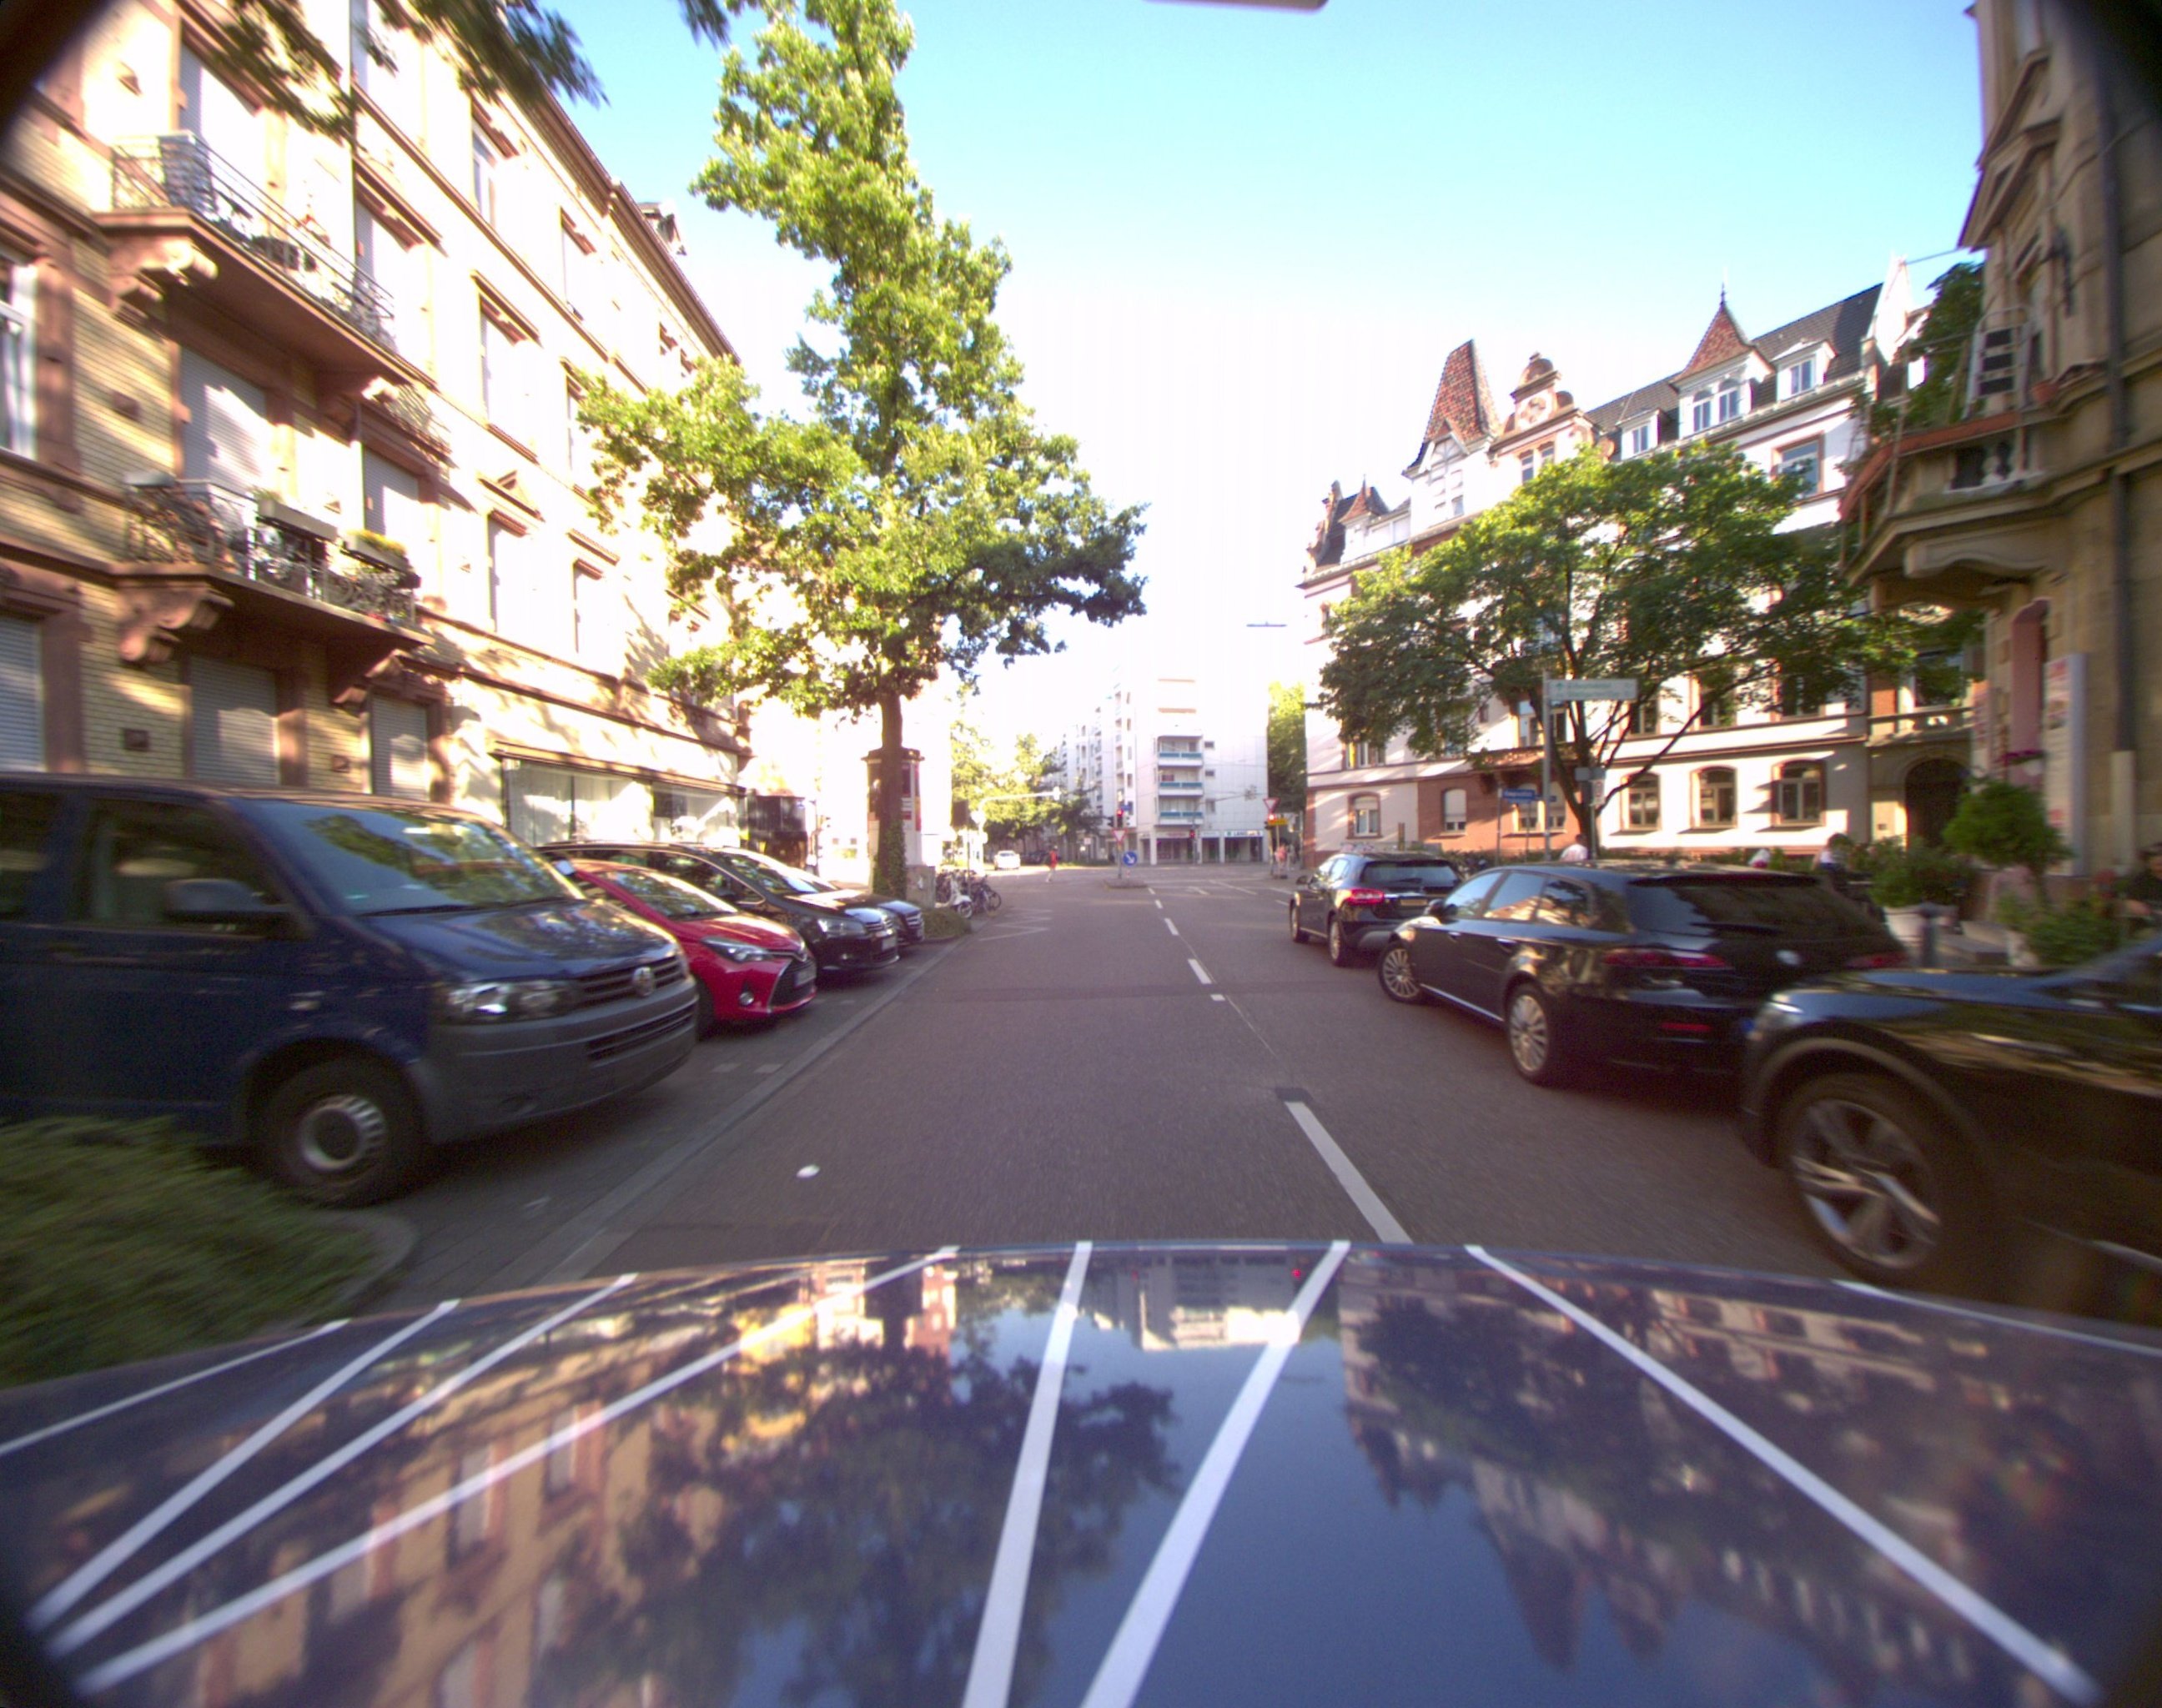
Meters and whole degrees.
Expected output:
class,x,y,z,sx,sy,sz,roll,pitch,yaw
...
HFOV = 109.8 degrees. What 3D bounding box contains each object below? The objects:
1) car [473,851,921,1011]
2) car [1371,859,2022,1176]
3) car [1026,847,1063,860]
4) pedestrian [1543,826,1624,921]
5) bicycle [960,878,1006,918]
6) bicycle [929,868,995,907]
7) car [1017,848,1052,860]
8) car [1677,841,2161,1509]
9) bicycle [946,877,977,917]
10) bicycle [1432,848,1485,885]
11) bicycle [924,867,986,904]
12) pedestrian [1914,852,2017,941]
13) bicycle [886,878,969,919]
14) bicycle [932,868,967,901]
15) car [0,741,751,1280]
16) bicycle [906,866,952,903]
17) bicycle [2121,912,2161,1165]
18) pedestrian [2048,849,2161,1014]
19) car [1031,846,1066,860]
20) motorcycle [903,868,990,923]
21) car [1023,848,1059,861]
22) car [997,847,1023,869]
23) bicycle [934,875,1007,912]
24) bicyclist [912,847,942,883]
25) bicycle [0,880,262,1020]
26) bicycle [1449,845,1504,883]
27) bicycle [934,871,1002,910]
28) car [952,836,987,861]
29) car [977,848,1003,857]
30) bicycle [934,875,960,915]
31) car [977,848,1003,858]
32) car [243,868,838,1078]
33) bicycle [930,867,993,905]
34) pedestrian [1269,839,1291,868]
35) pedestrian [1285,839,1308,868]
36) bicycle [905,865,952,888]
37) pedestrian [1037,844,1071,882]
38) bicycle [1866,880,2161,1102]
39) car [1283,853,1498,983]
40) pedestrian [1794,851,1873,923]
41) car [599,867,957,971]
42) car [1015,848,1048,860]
class,x,y,z,sx,sy,sz,roll,pitch,yaw
car,-4.562,0.813,9.359,4.695,1.669,1.852,0,1,9
car,3.850,0.813,6.003,1.762,1.443,4.551,-1,1,5
car,-4.772,-0.039,98.465,4.308,1.576,1.996,-2,1,-20
pedestrian,10.447,0.385,15.823,1.118,1.888,0.842,-2,1,-9
bicycle,-2.496,1.106,19.403,0.353,0.922,1.416,2,2,30
bicycle,-3.502,0.971,22.464,1.940,1.087,0.424,0,2,-37
car,-6.372,-0.001,103.190,4.308,1.576,1.996,-2,1,-20
car,3.399,0.759,1.089,1.762,1.590,4.551,-1,0,4
bicycle,-3.099,1.094,19.753,0.354,0.922,1.526,1,1,8
bicycle,12.924,0.393,26.111,0.547,1.189,2.959,-1,1,4
bicycle,-3.904,0.947,23.614,1.940,1.087,0.424,0,2,-39
pedestrian,12.706,0.585,10.925,0.728,1.207,0.755,-2,1,-19
bicycle,-3.725,1.075,18.520,1.935,0.922,0.354,1,2,-1
bicycle,-4.363,1.011,25.234,1.000,1.021,0.737,-2,1,-22
car,-4.807,0.689,4.175,5.034,2.202,1.992,-2,1,0
bicycle,-4.798,0.944,24.040,0.572,1.087,1.480,2,2,31
bicycle,5.746,0.794,3.217,1.872,1.122,0.528,-3,1,2
pedestrian,8.682,0.598,6.163,0.727,1.252,0.756,-1,1,-2
car,-4.114,-0.124,96.110,4.003,1.576,1.996,-2,1,-20
motorcycle,-3.151,0.972,17.868,1.902,1.227,0.686,1,1,0
car,-5.301,0.054,101.001,4.308,1.576,1.996,-2,1,-20
car,-6.159,0.304,65.547,2.000,1.740,3.997,-2,1,-8
bicycle,-3.077,1.094,21.155,1.939,0.982,0.495,1,2,-22
bicyclist,-6.808,0.482,33.655,1.082,1.544,0.633,-4,1,-30
bicycle,-10.110,0.909,7.727,0.672,1.165,2.592,1,1,2
bicycle,13.515,0.305,26.075,0.547,1.189,2.959,-1,1,4
bicycle,-3.265,1.036,22.034,1.940,1.046,0.501,0,2,-37
car,-14.907,-0.690,101.011,3.328,3.160,8.070,-2,1,-18
car,-16.893,-0.293,140.836,4.308,1.576,1.997,-2,1,-19
bicycle,-3.494,1.051,19.877,0.354,0.922,1.525,1,1,1
car,-16.243,-0.146,135.842,4.308,1.576,1.997,-2,1,-19
car,-4.580,0.968,6.914,4.116,1.526,1.724,-2,1,0
bicycle,-3.627,0.954,23.256,1.940,1.087,0.424,0,2,-39
pedestrian,11.981,-0.014,45.735,0.867,1.688,0.986,0,2,44
pedestrian,12.794,-0.018,45.064,0.986,1.688,0.867,-3,2,-43
bicycle,-6.753,0.995,33.676,1.881,0.907,0.633,-4,1,-30
pedestrian,-1.251,0.384,34.636,1.175,1.670,1.005,-2,1,-29
bicycle,5.799,0.759,4.408,1.872,1.122,0.528,-3,1,2
car,4.205,0.765,11.064,1.762,1.479,4.140,-1,1,5
pedestrian,13.985,0.591,14.134,0.745,1.282,0.742,-2,1,-10
car,-4.498,0.933,11.772,4.796,1.405,1.851,0,1,2
car,-7.091,0.032,109.317,4.308,1.576,1.997,-2,1,-19
